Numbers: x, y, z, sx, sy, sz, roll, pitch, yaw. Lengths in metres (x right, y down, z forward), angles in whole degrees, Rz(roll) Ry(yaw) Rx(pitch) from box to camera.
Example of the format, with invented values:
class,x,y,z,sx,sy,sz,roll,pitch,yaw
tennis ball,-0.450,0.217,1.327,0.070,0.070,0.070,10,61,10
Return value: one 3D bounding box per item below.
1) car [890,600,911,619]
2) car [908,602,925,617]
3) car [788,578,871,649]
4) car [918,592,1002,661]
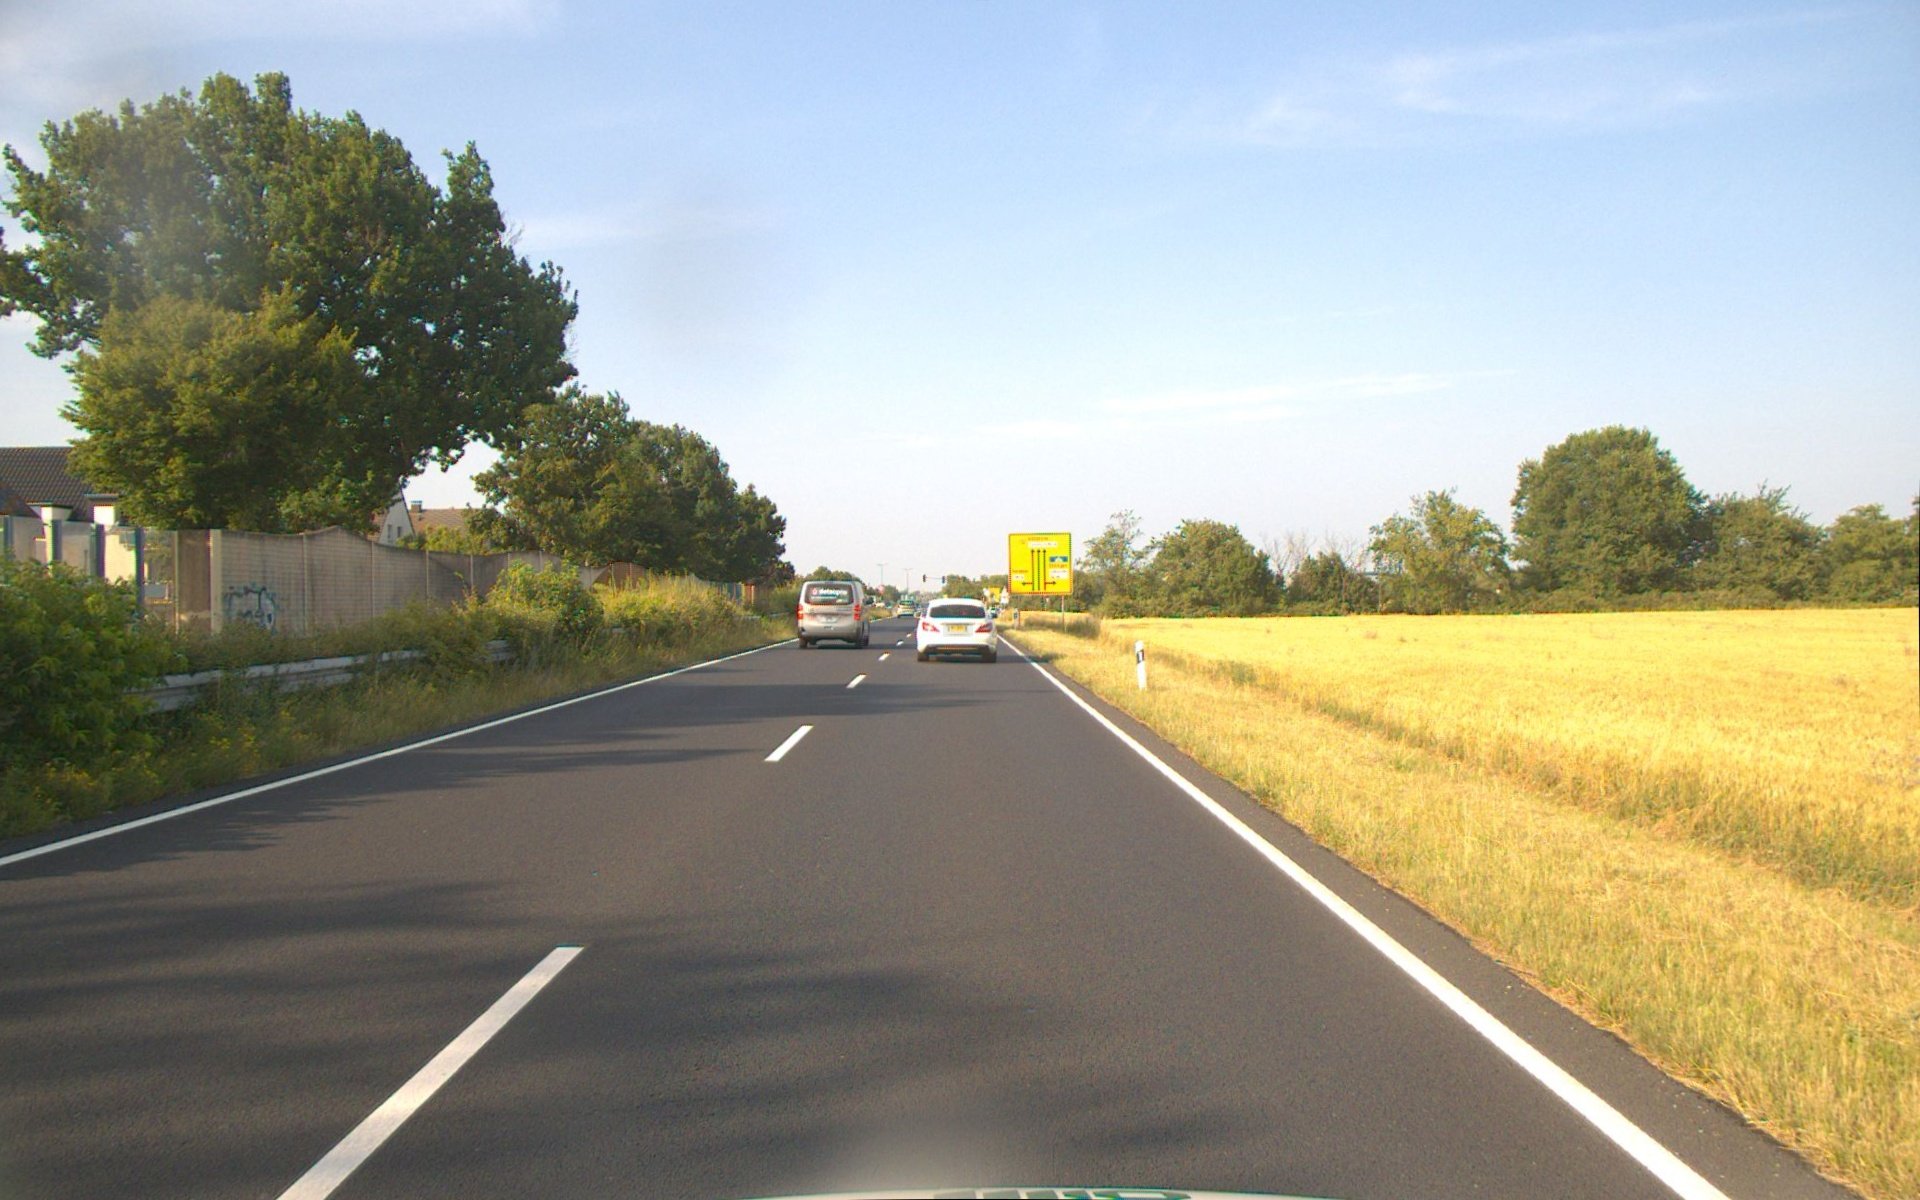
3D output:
class,x,y,z,sx,sy,sz,roll,pitch,yaw
car,-4.992,0.807,139.650,1.682,1.518,3.584,1,0,0
car,-4.462,0.983,169.085,1.682,1.518,3.584,1,0,0
car,-3.744,0.362,48.201,1.984,1.925,4.958,1,0,0
car,-0.038,0.603,38.902,1.856,1.535,3.999,0,0,-1
